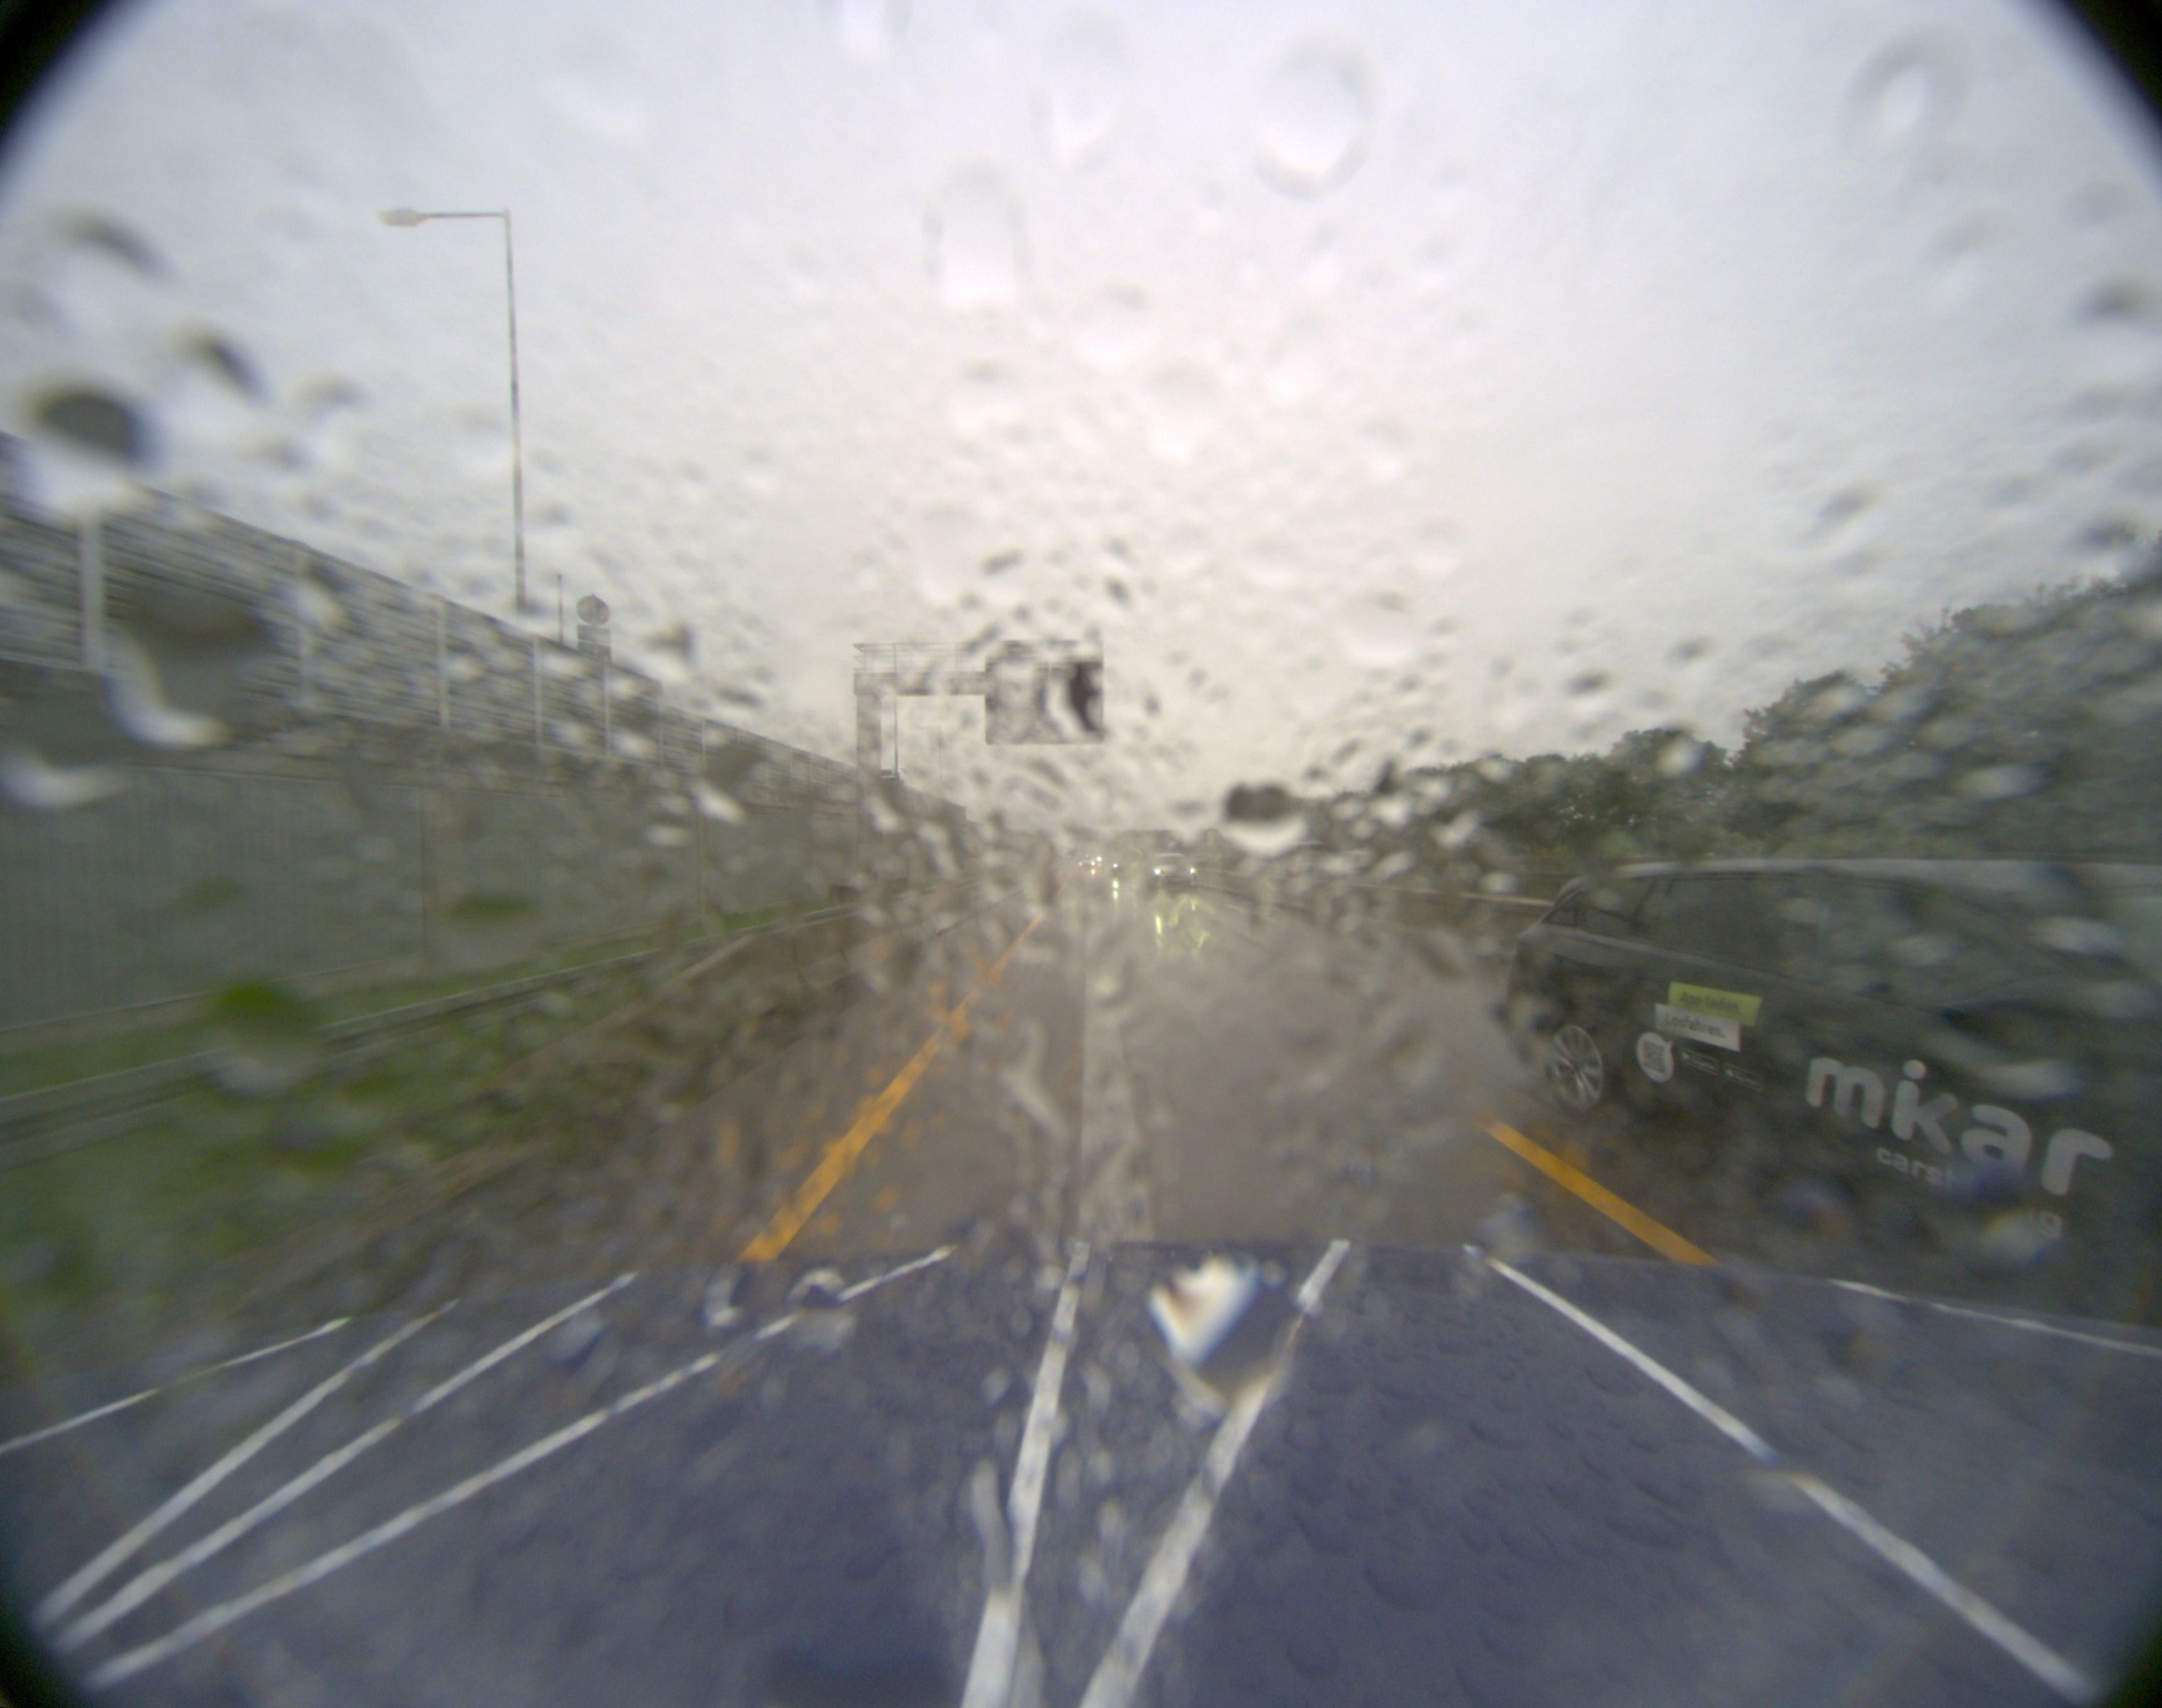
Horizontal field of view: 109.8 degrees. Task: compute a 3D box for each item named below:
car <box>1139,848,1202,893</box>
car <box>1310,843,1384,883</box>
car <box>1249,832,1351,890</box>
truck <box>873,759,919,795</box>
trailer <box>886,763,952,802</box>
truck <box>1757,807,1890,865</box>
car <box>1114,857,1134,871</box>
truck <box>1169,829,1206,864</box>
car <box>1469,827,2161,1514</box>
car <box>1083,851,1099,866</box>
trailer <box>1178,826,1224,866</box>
[{"bbox_3d":[3.747,0.634,32.322,1.972,1.671,3.998,-2,2,-3],"label":"car"},{"bbox_3d":[10.521,0.322,30.306,1.573,1.427,3.893,-1,0,0],"label":"car"},{"bbox_3d":[6.939,0.187,24.591,1.903,1.677,4.740,-1,0,0],"label":"car"},{"bbox_3d":[-12.393,-5.122,51.089,1.998,2.002,4.057,-2,2,1],"label":"truck"},{"bbox_3d":[-12.342,-5.399,59.316,1.998,2.094,13.764,-2,2,1],"label":"trailer"},{"bbox_3d":[45.190,-1.113,46.525,2.619,3.195,5.867,-2,2,3],"label":"truck"},{"bbox_3d":[3.443,0.801,61.186,1.335,1.105,3.198,1,0,-2],"label":"car"},{"bbox_3d":[11.091,-0.742,80.000,2.646,3.328,9.552,-2,0,1],"label":"truck"},{"bbox_3d":[3.393,0.689,2.396,1.943,1.518,4.796,-2,0,1],"label":"car"},{"bbox_3d":[1.254,0.553,96.670,1.998,1.762,3.999,-2,2,1],"label":"car"},{"bbox_3d":[10.982,-0.668,70.355,2.668,3.343,9.714,-2,0,1],"label":"trailer"}]
